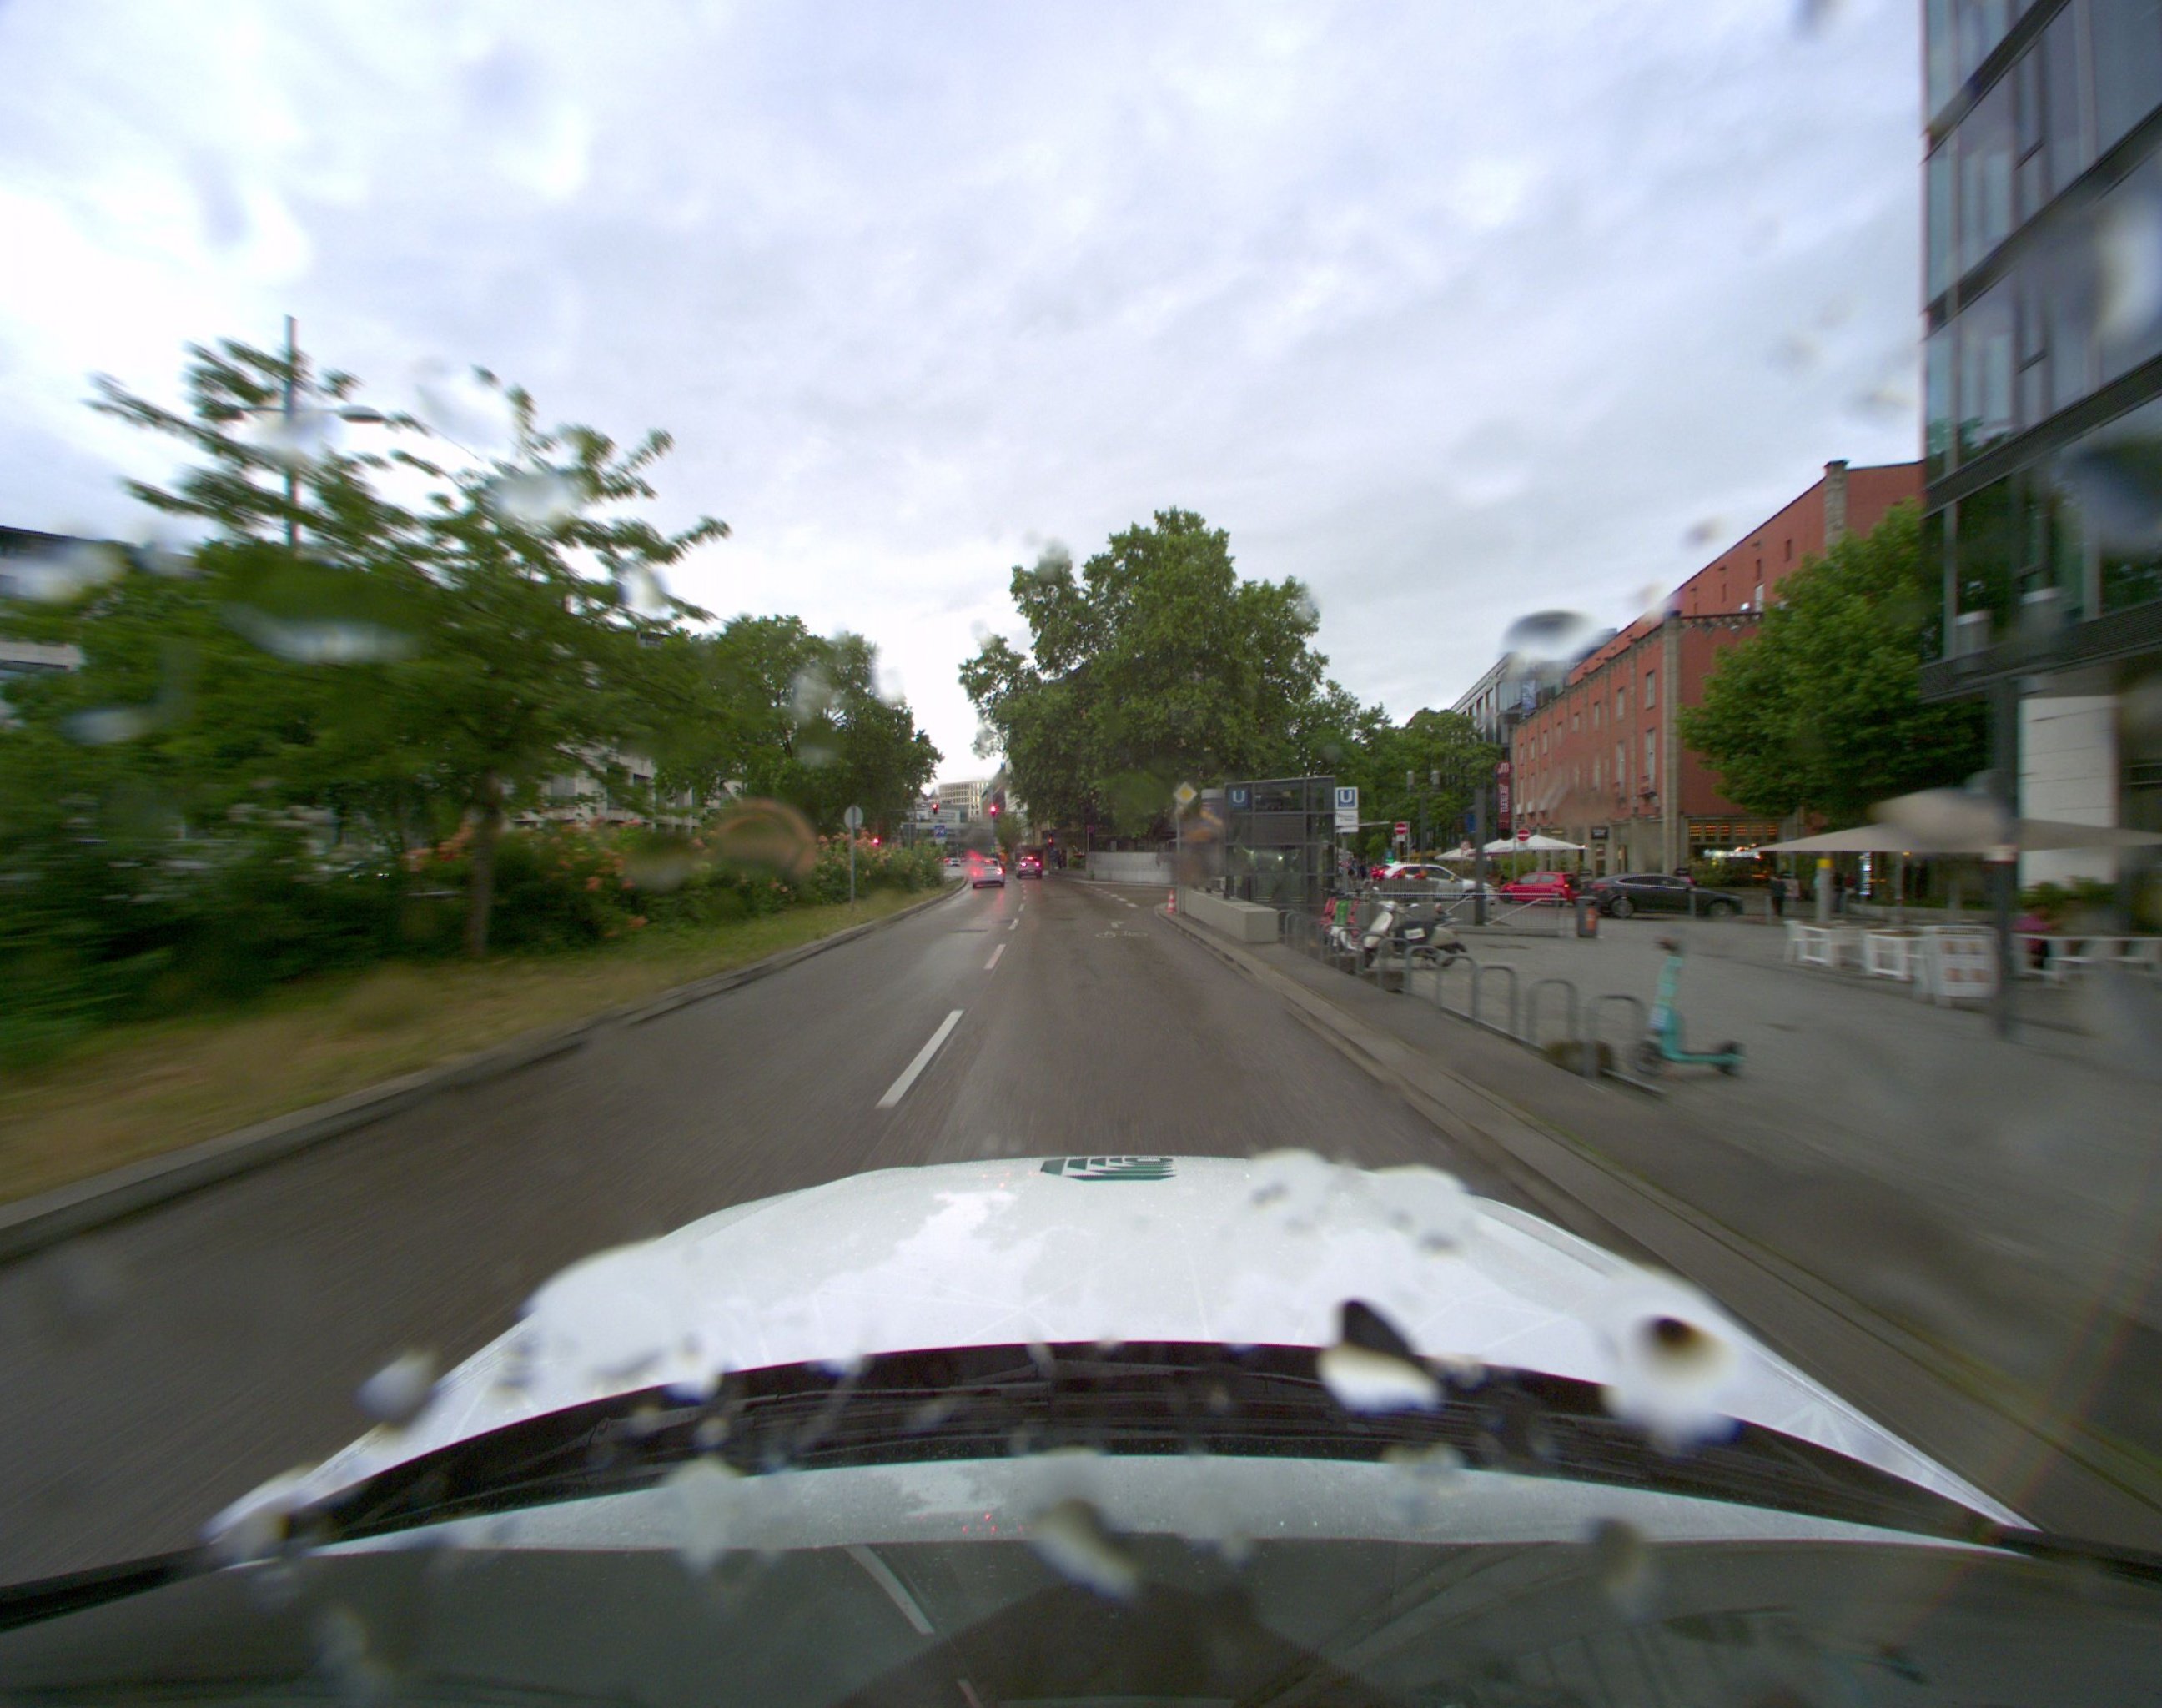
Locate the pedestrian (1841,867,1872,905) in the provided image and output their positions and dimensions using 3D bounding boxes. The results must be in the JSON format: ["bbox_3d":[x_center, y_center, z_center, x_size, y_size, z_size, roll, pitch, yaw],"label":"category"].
[{"bbox_3d":[33.379,1.356,35.051,0.747,1.597,0.611,1,-1,8],"label":"pedestrian"}]

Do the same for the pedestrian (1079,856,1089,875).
[{"bbox_3d":[0.280,1.069,75.262,0.857,1.780,0.716,-1,-1,-4],"label":"pedestrian"}]

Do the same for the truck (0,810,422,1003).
[{"bbox_3d":[-15.557,0.708,12.532,3.350,2.510,8.490,-1,0,6],"label":"truck"}]

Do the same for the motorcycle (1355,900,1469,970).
[{"bbox_3d":[5.834,1.414,14.385,1.772,1.158,0.607,1,0,-2],"label":"motorcycle"}]

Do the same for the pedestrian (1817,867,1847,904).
[{"bbox_3d":[32.353,1.365,35.085,0.747,1.560,0.611,1,-1,8],"label":"pedestrian"}]

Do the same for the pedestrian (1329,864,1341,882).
[{"bbox_3d":[17.883,1.338,57.427,0.627,1.250,0.609,2,-1,-3],"label":"pedestrian"}]

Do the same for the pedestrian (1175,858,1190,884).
[{"bbox_3d":[5.709,0.940,45.738,0.683,1.410,0.904,2,-1,-2],"label":"pedestrian"}]

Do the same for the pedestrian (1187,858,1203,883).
[{"bbox_3d":[6.425,0.933,45.818,0.683,1.410,0.904,2,-1,-2],"label":"pedestrian"}]

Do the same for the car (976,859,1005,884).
[{"bbox_3d":[-5.630,1.065,50.757,1.689,1.463,4.120,-2,0,-7],"label":"car"}]

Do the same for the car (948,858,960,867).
[{"bbox_3d":[-23.575,1.580,151.278,1.978,1.463,4.330,-2,0,-10],"label":"car"}]

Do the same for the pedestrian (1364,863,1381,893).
[{"bbox_3d":[17.702,1.469,49.469,0.689,1.780,0.875,1,0,4],"label":"pedestrian"}]

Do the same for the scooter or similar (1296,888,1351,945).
[{"bbox_3d":[5.377,1.386,18.094,1.110,1.234,0.365,1,0,-2],"label":"scooter or similar"}]

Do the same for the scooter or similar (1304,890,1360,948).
[{"bbox_3d":[5.440,1.397,17.666,1.110,1.216,0.365,1,0,-2],"label":"scooter or similar"}]

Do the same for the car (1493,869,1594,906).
[{"bbox_3d":[20.118,1.448,35.557,1.618,1.416,3.497,2,0,-27],"label":"car"}]

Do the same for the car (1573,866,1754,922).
[{"bbox_3d":[19.923,1.333,28.100,4.699,1.691,2.013,1,0,16],"label":"car"}]

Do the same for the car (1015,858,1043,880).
[{"bbox_3d":[-4.023,1.151,62.596,1.945,1.666,4.335,0,-1,-7],"label":"car"}]

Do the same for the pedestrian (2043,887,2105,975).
[{"bbox_3d":[16.432,1.265,13.484,0.431,1.403,0.480,-1,-1,15],"label":"pedestrian"}]

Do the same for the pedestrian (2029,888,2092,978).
[{"bbox_3d":[15.893,1.267,13.222,0.431,1.403,0.480,-1,-1,15],"label":"pedestrian"}]

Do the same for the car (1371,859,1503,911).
[{"bbox_3d":[12.945,1.096,29.858,4.070,1.621,1.869,3,-1,12],"label":"car"}]

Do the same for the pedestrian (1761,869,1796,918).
[{"bbox_3d":[26.393,1.488,30.831,0.606,1.809,0.808,1,-1,1],"label":"pedestrian"}]

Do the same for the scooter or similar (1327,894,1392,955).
[{"bbox_3d":[5.559,1.401,16.278,1.110,1.158,0.531,1,0,-2],"label":"scooter or similar"}]

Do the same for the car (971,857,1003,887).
[{"bbox_3d":[-5.029,0.947,43.690,1.588,1.491,3.496,-2,0,-7],"label":"car"}]

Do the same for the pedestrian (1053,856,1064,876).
[{"bbox_3d":[-1.992,1.050,72.108,0.857,1.780,0.716,-1,-1,-4],"label":"pedestrian"}]

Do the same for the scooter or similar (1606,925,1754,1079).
[{"bbox_3d":[5.414,1.311,7.378,1.091,1.272,0.479,1,0,-12],"label":"scooter or similar"}]

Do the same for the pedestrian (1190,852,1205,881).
[{"bbox_3d":[6.960,0.720,48.447,0.716,1.702,0.622,-1,-1,24],"label":"pedestrian"}]

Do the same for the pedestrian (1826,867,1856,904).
[{"bbox_3d":[33.430,1.366,35.818,0.747,1.597,0.611,1,-1,8],"label":"pedestrian"}]

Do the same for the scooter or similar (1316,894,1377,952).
[{"bbox_3d":[5.463,1.410,16.790,1.110,1.158,0.443,1,0,-2],"label":"scooter or similar"}]

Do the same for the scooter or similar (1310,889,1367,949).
[{"bbox_3d":[5.458,1.376,17.278,1.110,1.237,0.365,1,0,-2],"label":"scooter or similar"}]

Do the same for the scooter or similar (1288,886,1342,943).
[{"bbox_3d":[5.340,1.370,18.602,1.110,1.269,0.365,1,0,-2],"label":"scooter or similar"}]
